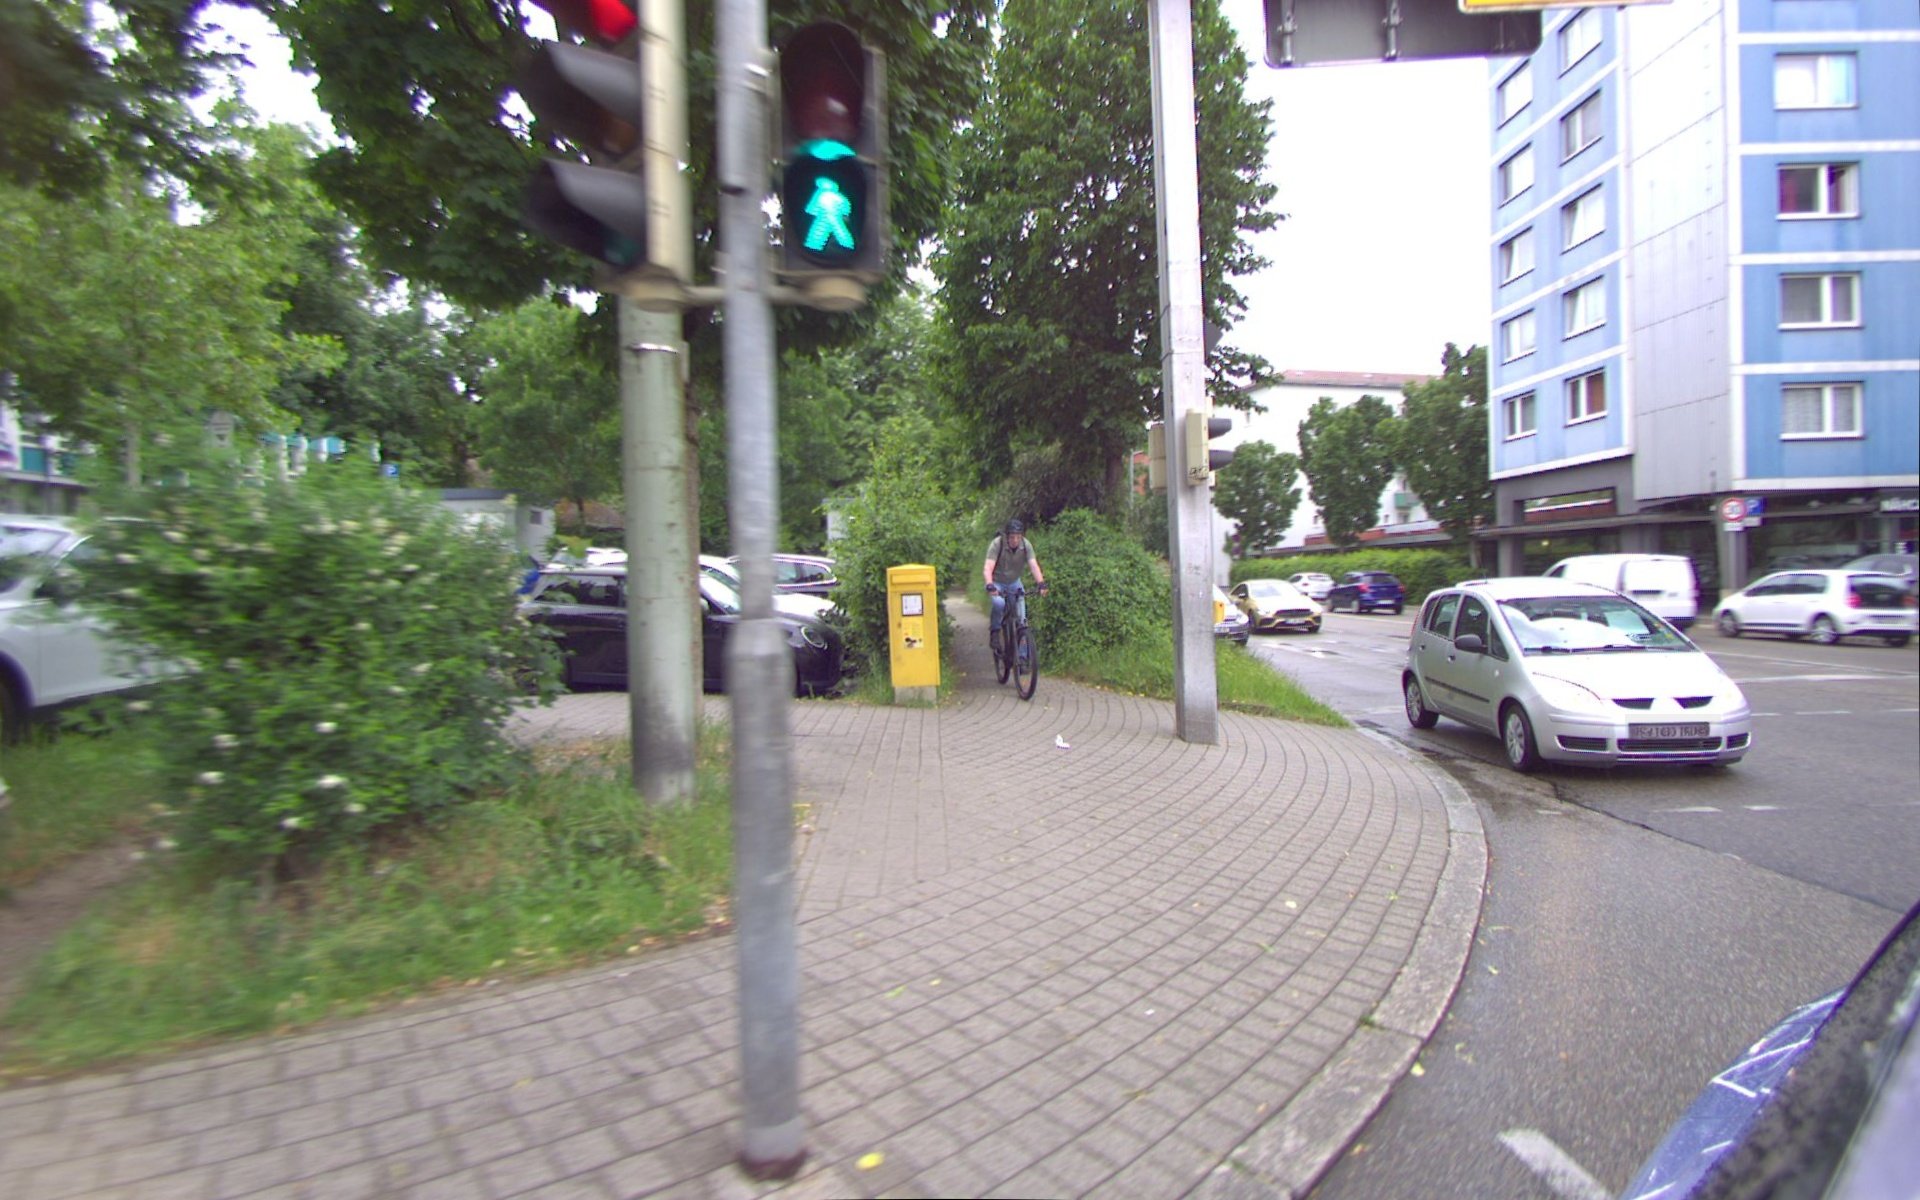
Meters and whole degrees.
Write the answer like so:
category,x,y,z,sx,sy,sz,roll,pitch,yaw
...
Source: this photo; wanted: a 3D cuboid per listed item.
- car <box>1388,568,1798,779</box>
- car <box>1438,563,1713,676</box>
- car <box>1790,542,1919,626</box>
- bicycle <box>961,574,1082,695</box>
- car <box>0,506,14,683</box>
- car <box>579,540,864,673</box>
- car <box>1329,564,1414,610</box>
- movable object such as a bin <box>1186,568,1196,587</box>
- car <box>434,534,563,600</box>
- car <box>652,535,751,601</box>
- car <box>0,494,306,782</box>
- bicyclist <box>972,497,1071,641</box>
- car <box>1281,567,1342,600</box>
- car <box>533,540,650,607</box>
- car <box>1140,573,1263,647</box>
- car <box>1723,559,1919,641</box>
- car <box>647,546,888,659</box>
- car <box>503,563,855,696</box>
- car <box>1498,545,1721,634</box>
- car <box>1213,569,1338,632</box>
category,x,y,z,sx,sy,sz,roll,pitch,yaw
car,5.583,0.506,9.572,1.658,1.523,3.834,-3,1,5
car,8.991,0.183,15.240,1.656,1.442,4.038,-1,2,0
car,20.647,-0.397,22.068,1.619,1.685,4.189,-2,3,0
bicycle,0.623,0.328,11.314,0.870,1.202,2.137,1,2,-9
car,-8.767,-0.021,6.518,1.605,1.501,4.217,2,1,-4
car,-3.289,0.062,14.393,3.634,1.717,1.636,1,1,3
car,14.582,-0.507,36.073,1.586,1.554,3.453,0,2,0
movable object such as a bin,19.445,-1.905,85.140,0.777,1.520,0.813,1,1,19
car,-12.378,-0.904,27.414,1.765,1.629,4.003,1,2,-1
car,-6.971,-0.894,27.641,1.765,1.629,4.003,1,2,-1
car,-6.317,0.162,6.583,1.605,1.641,4.216,2,1,-4
bicyclist,0.656,-0.334,11.185,0.870,1.508,0.970,1,1,-9
car,17.233,-0.849,49.766,1.619,1.538,3.719,1,2,-1
car,-9.739,-0.746,27.054,1.765,1.629,4.003,1,2,-1
car,5.789,0.194,24.782,1.655,1.523,4.504,-4,1,-2
car,17.582,-0.050,20.428,1.675,1.502,3.443,1,2,0
car,-3.105,0.016,16.739,3.634,1.717,1.636,1,1,3
car,-3.108,0.297,11.702,3.631,1.382,1.638,1,1,-1
car,14.460,-0.288,22.971,1.724,1.789,5.117,0,2,0
car,8.723,-0.058,28.410,1.954,1.458,4.583,-4,2,0
